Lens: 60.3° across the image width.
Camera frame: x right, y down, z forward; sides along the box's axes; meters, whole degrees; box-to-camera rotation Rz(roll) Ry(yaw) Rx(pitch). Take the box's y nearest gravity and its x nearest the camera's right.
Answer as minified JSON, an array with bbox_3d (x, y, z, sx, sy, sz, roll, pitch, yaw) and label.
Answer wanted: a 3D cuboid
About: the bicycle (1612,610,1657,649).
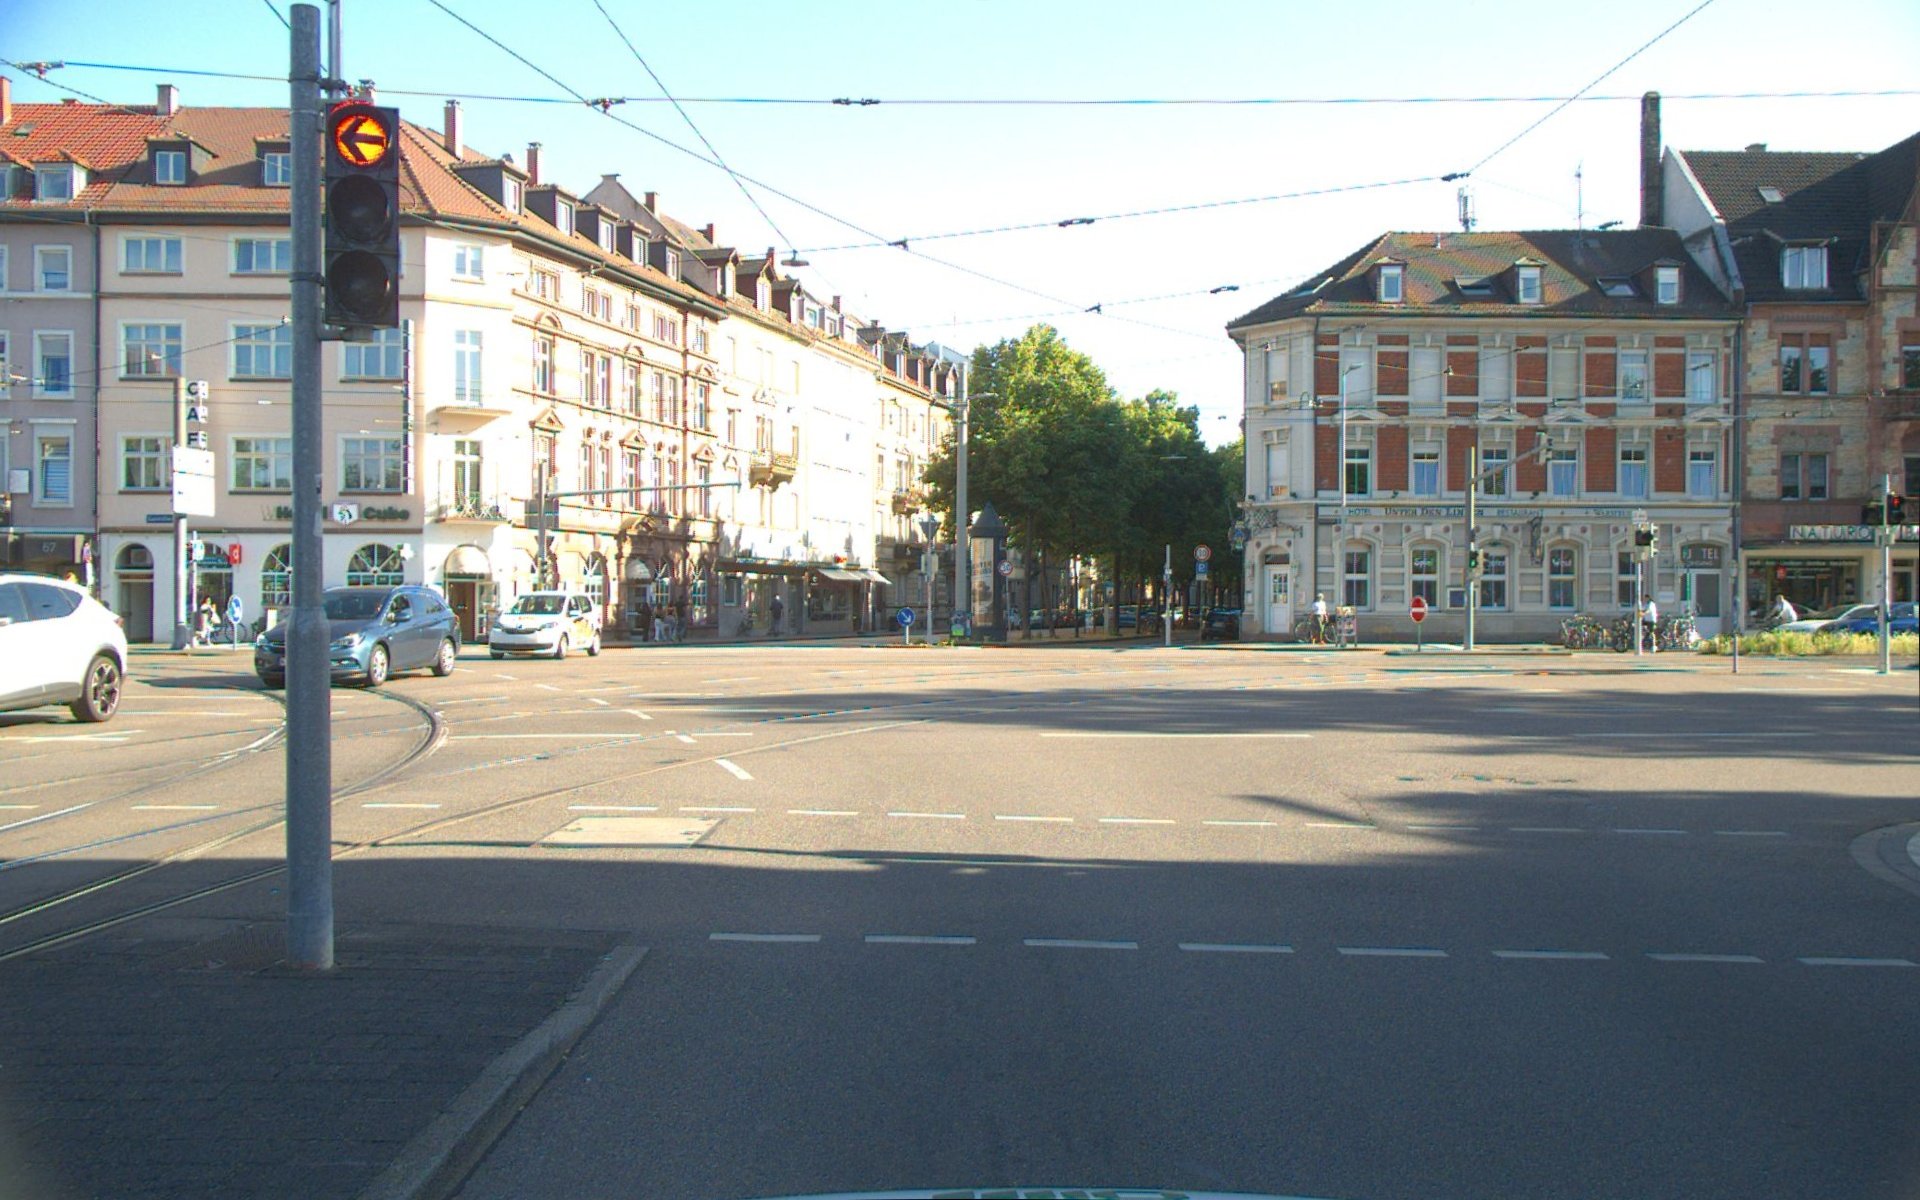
[{"bbox_3d":[21.813,0.953,53.499,0.663,1.211,1.967,0,0,0],"label":"bicycle"}]

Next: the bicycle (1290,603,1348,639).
[{"bbox_3d":[12.450,0.728,57.354,1.919,1.211,0.546,0,0,4],"label":"bicycle"}]

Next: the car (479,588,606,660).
[{"bbox_3d":[-9.272,0.504,36.991,1.681,1.523,3.586,0,0,5],"label":"car"}]

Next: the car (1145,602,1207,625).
[{"bbox_3d":[15.239,0.957,116.742,3.913,1.572,1.996,0,0,30],"label":"car"}]

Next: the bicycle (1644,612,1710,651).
[{"bbox_3d":[23.035,1.011,53.119,1.926,1.211,0.677,0,0,-13],"label":"bicycle"}]

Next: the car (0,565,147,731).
[{"bbox_3d":[-9.780,0.444,15.638,1.952,1.523,4.348,0,0,1],"label":"car"}]

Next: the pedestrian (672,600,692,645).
[{"bbox_3d":[-11.501,0.917,68.436,0.567,1.868,0.633,0,0,15],"label":"pedestrian"}]

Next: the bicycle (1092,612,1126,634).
[{"bbox_3d":[7.460,1.163,82.853,0.577,1.086,1.924,0,0,-37],"label":"bicycle"}]

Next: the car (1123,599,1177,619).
[{"bbox_3d":[15.458,0.740,134.657,3.910,1.572,1.998,0,0,28],"label":"car"}]

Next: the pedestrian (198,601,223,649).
[{"bbox_3d":[-24.507,0.802,54.086,0.647,1.551,0.692,0,0,-16],"label":"pedestrian"}]

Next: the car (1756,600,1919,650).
[{"bbox_3d":[25.958,0.714,48.945,3.906,1.437,1.845,0,0,-2],"label":"car"}]

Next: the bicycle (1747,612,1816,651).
[{"bbox_3d":[25.685,0.977,51.735,1.923,1.211,0.601,0,0,-6],"label":"bicycle"}]

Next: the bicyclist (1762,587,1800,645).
[{"bbox_3d":[25.690,0.485,51.736,0.885,1.795,0.601,0,0,-6],"label":"bicyclist"}]

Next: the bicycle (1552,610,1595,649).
[{"bbox_3d":[19.824,0.935,53.450,0.663,1.211,1.967,0,0,0],"label":"bicycle"}]

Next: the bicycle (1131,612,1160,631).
[{"bbox_3d":[11.157,1.272,99.401,0.577,1.086,1.924,0,0,-37],"label":"bicycle"}]

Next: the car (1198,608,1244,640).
[{"bbox_3d":[13.066,1.168,82.596,1.951,1.523,4.037,0,0,13],"label":"car"}]

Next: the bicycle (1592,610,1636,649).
[{"bbox_3d":[21.151,0.945,53.497,0.663,1.211,1.967,0,0,0],"label":"bicycle"}]

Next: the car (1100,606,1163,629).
[{"bbox_3d":[12.026,1.216,115.829,3.910,1.572,1.998,0,0,28],"label":"car"}]

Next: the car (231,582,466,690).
[{"bbox_3d":[-9.330,0.496,25.668,1.736,1.523,4.575,0,0,3],"label":"car"}]

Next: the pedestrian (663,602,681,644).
[{"bbox_3d":[-11.710,0.924,67.262,0.539,1.670,0.633,0,0,15],"label":"pedestrian"}]

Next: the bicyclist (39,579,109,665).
[{"bbox_3d":[-14.299,0.348,26.700,0.590,1.363,0.898,0,0,5],"label":"bicyclist"}]

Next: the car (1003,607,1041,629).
[{"bbox_3d":[4.443,1.265,117.409,1.951,1.523,4.037,0,0,13],"label":"car"}]

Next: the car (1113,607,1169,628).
[{"bbox_3d":[14.063,1.328,128.499,3.910,1.572,1.998,0,0,28],"label":"car"}]

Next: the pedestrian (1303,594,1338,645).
[{"bbox_3d":[12.143,0.644,55.695,0.712,1.699,0.924,0,0,-45],"label":"pedestrian"}]

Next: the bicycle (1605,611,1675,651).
[{"bbox_3d":[21.054,0.951,51.238,1.920,1.211,0.602,0,0,2],"label":"bicycle"}]

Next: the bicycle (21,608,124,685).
[{"bbox_3d":[-14.306,0.721,26.714,0.475,1.186,1.959,0,0,5],"label":"bicycle"}]

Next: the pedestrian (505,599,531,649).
[{"bbox_3d":[-14.891,0.795,55.698,0.661,1.670,0.579,0,0,13],"label":"pedestrian"}]

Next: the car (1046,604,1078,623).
[{"bbox_3d":[8.164,1.061,132.005,1.951,1.523,4.037,0,0,13],"label":"car"}]

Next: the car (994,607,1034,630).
[{"bbox_3d":[3.697,1.233,112.911,1.951,1.523,4.037,0,0,13],"label":"car"}]

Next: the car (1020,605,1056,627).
[{"bbox_3d":[5.789,1.170,122.665,1.951,1.523,4.037,0,0,13],"label":"car"}]

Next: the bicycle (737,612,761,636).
[{"bbox_3d":[-10.140,1.150,79.382,0.484,1.086,1.771,0,0,15],"label":"bicycle"}]

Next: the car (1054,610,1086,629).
[{"bbox_3d":[9.107,1.615,136.646,1.951,1.523,4.037,0,0,13],"label":"car"}]

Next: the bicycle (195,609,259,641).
[{"bbox_3d":[-24.913,0.850,56.210,1.906,1.086,0.582,0,0,-8],"label":"bicycle"}]

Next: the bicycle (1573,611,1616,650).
[{"bbox_3d":[20.513,0.963,53.486,0.663,1.211,1.967,0,0,0],"label":"bicycle"}]

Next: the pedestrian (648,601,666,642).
[{"bbox_3d":[-12.312,0.882,67.259,0.539,1.670,0.538,0,0,14],"label":"pedestrian"}]

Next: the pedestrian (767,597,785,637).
[{"bbox_3d":[-8.900,0.834,80.078,0.667,1.942,0.633,0,0,15],"label":"pedestrian"}]

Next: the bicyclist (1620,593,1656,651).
[{"bbox_3d":[20.996,0.667,51.236,0.854,1.795,0.602,0,0,2],"label":"bicyclist"}]

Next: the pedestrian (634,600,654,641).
[{"bbox_3d":[-12.863,0.844,67.307,0.613,1.670,0.538,0,0,13],"label":"pedestrian"}]

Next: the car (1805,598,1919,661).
[{"bbox_3d":[25.907,0.804,45.949,3.906,1.697,1.954,0,0,-2],"label":"car"}]
